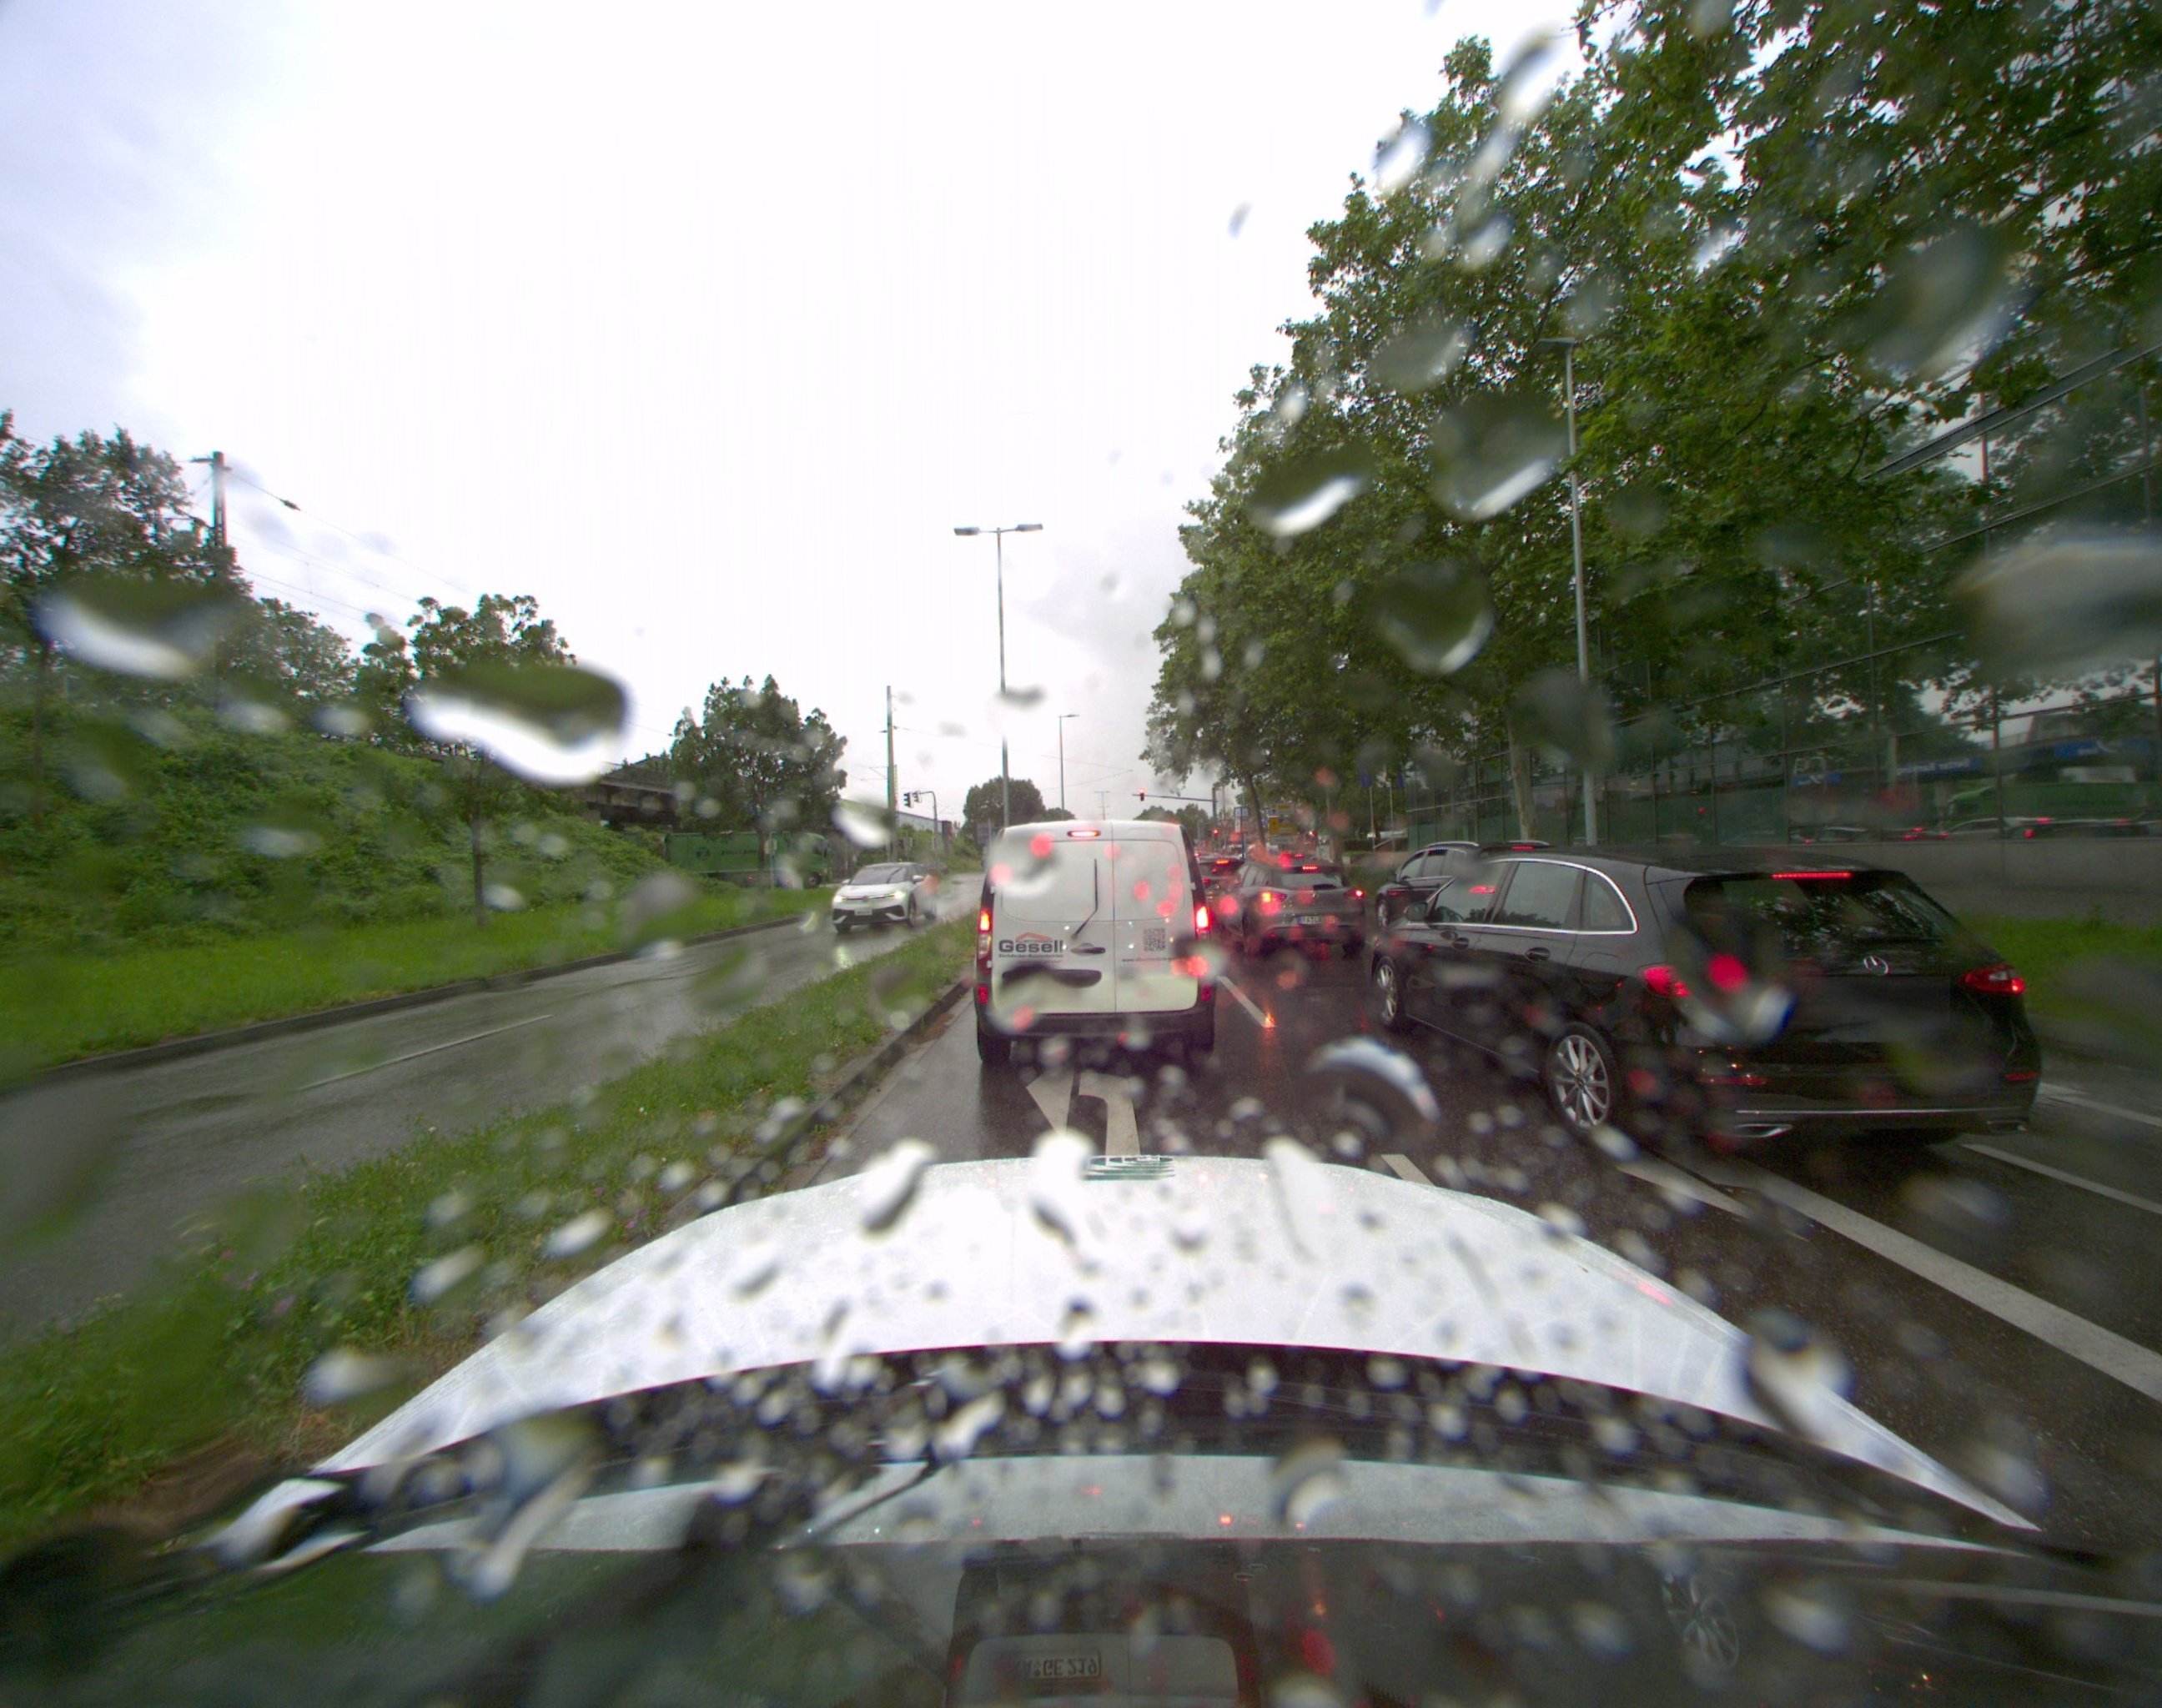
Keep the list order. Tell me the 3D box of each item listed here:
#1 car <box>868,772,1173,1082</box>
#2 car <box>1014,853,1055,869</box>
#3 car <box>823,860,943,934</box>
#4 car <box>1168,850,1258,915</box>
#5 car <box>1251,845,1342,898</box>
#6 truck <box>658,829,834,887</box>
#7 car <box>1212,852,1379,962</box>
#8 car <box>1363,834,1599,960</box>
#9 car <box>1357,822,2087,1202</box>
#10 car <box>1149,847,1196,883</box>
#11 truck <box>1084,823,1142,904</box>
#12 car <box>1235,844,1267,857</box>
[{"bbox_3d":[-0.393,0.496,7.403,1.987,2.014,3.999,-1,-1,0],"label":"car"},{"bbox_3d":[-4.919,0.730,86.171,4.014,1.585,1.700,-2,0,-32],"label":"car"},{"bbox_3d":[-4.975,1.005,21.084,1.956,1.525,4.334,-3,1,0],"label":"car"},{"bbox_3d":[3.233,0.645,20.657,1.705,1.445,4.002,-1,0,2],"label":"car"},{"bbox_3d":[6.777,0.532,26.049,1.833,1.537,4.111,-1,-1,1],"label":"car"},{"bbox_3d":[-21.363,0.313,52.422,10.184,3.452,2.629,0,-2,-36],"label":"truck"},{"bbox_3d":[3.247,0.715,13.084,1.705,1.445,4.002,-1,0,2],"label":"car"},{"bbox_3d":[6.288,0.615,13.429,1.850,1.726,4.190,-1,-1,0],"label":"car"},{"bbox_3d":[3.371,0.637,5.412,1.703,1.549,4.000,-1,1,0],"label":"car"},{"bbox_3d":[3.962,0.460,35.819,1.705,1.445,4.002,-1,0,2],"label":"car"},{"bbox_3d":[1.007,0.301,27.168,1.751,2.466,3.999,-1,-1,0],"label":"truck"},{"bbox_3d":[24.091,-0.484,115.318,3.988,1.713,1.767,-1,-2,-11],"label":"car"}]
